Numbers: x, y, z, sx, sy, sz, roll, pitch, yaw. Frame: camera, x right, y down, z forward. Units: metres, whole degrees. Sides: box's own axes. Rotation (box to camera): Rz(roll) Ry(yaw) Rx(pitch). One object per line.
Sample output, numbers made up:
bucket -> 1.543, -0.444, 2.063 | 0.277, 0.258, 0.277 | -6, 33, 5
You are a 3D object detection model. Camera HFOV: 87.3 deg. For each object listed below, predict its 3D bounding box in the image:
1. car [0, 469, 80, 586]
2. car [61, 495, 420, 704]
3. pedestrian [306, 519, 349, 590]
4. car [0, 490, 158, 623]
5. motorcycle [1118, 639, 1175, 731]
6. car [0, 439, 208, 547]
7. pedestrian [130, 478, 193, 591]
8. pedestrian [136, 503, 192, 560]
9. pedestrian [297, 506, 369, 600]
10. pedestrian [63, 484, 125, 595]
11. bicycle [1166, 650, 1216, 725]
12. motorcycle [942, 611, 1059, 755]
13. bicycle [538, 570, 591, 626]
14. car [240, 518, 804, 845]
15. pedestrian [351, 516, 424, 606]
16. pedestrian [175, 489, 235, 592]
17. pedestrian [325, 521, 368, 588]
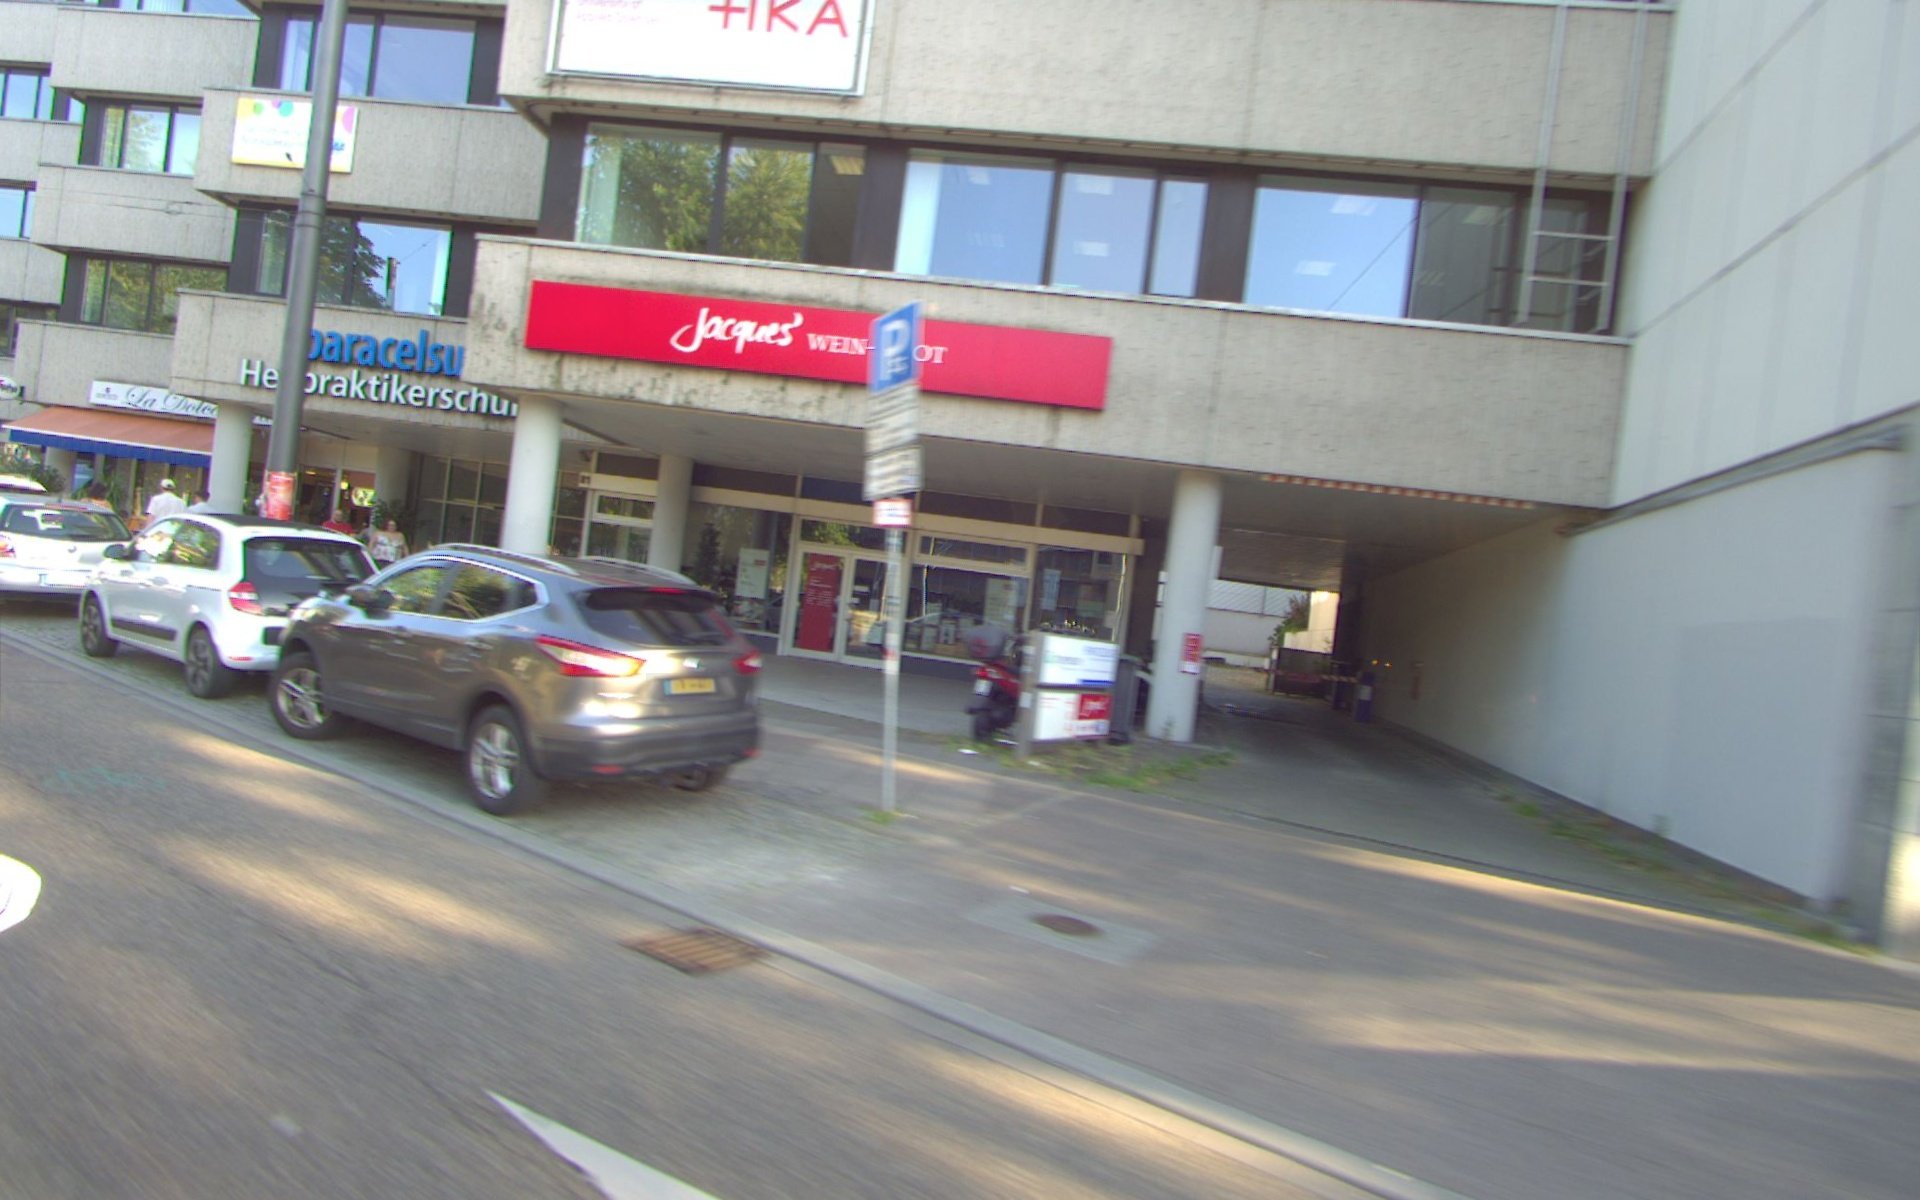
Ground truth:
car -> -16.606, -1.362, 16.570 | 4.429, 1.736, 1.868 | 7, 2, 31
car -> -7.195, -0.069, 9.986 | 3.550, 1.577, 1.608 | 7, 2, 32
pedestrian -> -16.777, -1.196, 26.699 | 0.511, 1.780, 0.599 | 8, -1, 9
car -> -12.329, -0.656, 13.250 | 3.793, 1.460, 1.662 | 7, 2, 34
motorcycle -> 2.822, 1.246, 15.076 | 0.520, 1.219, 2.021 | 7, -1, 16
car -> -25.708, -3.093, 29.918 | 2.052, 2.473, 5.334 | 6, 1, 7
pedestrian -> -13.943, -1.132, 17.567 | 0.651, 1.883, 0.622 | 7, 3, 34
pedestrian -> -19.722, -1.678, 24.939 | 0.650, 1.298, 0.768 | 6, 2, 4
pedestrian -> -12.485, -0.916, 20.071 | 0.687, 1.749, 1.031 | 7, 1, -6
pedestrian -> -14.595, -1.016, 16.959 | 0.651, 1.783, 0.578 | 7, 3, 34
bicycle -> 3.870, 1.427, 16.776 | 0.475, 1.088, 1.869 | 7, 1, 19
motorcycle -> 0.476, 0.840, 10.775 | 0.572, 1.348, 1.787 | 7, 1, 21
bicycle -> -8.246, -0.062, 21.026 | 0.475, 1.086, 1.756 | 7, 1, -6
car -> -3.372, 0.401, 7.456 | 4.166, 1.577, 1.782 | 7, 2, 34
pedestrian -> -11.574, -0.777, 20.359 | 0.975, 1.694, 0.641 | 7, 1, -6
pedestrian -> -13.616, -1.064, 18.145 | 0.651, 1.763, 0.622 | 7, 3, 34
pedestrian -> -16.228, -1.188, 26.625 | 0.511, 1.669, 0.599 | 8, -1, 9
